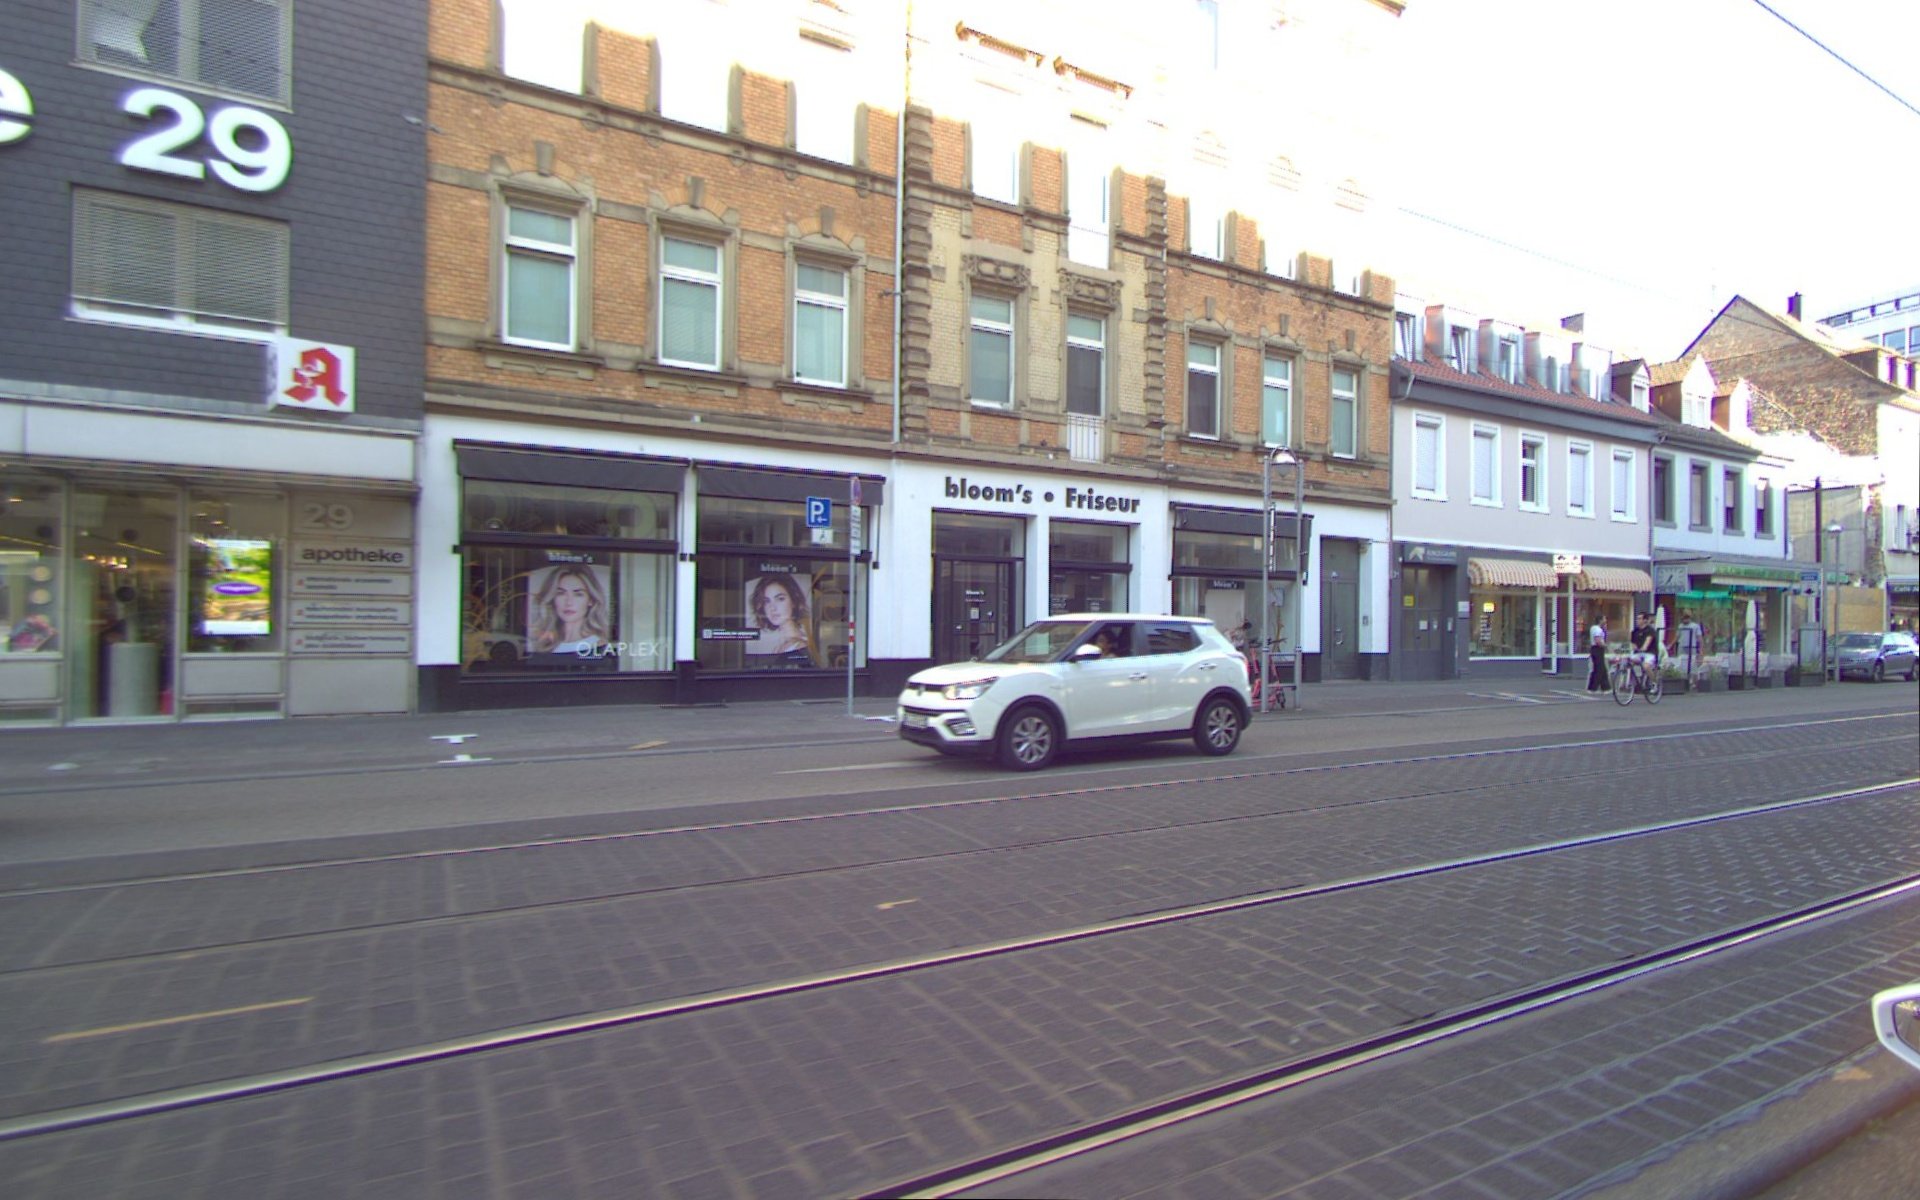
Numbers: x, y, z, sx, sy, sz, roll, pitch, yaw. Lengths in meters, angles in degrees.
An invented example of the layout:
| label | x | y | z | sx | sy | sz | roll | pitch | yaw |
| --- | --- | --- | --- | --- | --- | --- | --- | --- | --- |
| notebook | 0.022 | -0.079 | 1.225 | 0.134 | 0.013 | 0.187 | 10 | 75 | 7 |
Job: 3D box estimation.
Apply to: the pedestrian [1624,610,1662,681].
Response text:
| label | x | y | z | sx | sy | sz | roll | pitch | yaw |
| --- | --- | --- | --- | --- | --- | --- | --- | --- | --- |
| pedestrian | 18.252 | 1.206 | 26.834 | 0.636 | 1.847 | 0.652 | 1 | -1 | -35 |

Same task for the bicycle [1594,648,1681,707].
| label | x | y | z | sx | sy | sz | roll | pitch | yaw |
| --- | --- | --- | --- | --- | --- | --- | --- | --- | --- |
| bicycle | 13.718 | 1.552 | 20.324 | 1.926 | 1.130 | 0.576 | 1 | -1 | -25 |

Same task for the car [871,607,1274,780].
| label | x | y | z | sx | sy | sz | roll | pitch | yaw |
| --- | --- | --- | --- | --- | --- | --- | --- | --- | --- |
| car | 1.303 | 0.952 | 11.287 | 4.211 | 1.615 | 1.882 | 1 | -3 | -29 |

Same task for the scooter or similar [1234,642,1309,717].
| label | x | y | z | sx | sy | sz | roll | pitch | yaw |
| --- | --- | --- | --- | --- | --- | --- | --- | --- | --- |
| scooter or similar | 5.400 | 1.355 | 17.366 | 1.461 | 1.218 | 0.362 | 1 | 1 | -33 |

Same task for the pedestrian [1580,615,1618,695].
| label | x | y | z | sx | sy | sz | roll | pitch | yaw |
| --- | --- | --- | --- | --- | --- | --- | --- | --- | --- |
| pedestrian | 14.695 | 1.242 | 23.116 | 0.603 | 1.799 | 0.718 | 0 | -1 | 22 |

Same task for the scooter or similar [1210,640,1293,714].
| label | x | y | z | sx | sy | sz | roll | pitch | yaw |
| --- | --- | --- | --- | --- | --- | --- | --- | --- | --- |
| scooter or similar | 5.163 | 1.339 | 17.789 | 1.461 | 1.218 | 0.576 | 1 | 1 | -33 |

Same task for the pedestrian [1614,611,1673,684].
| label | x | y | z | sx | sy | sz | roll | pitch | yaw |
| --- | --- | --- | --- | --- | --- | --- | --- | --- | --- |
| pedestrian | 13.888 | 0.960 | 20.411 | 0.862 | 1.463 | 0.622 | 2 | -1 | -25 |

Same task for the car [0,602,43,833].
| label | x | y | z | sx | sy | sz | roll | pitch | yaw |
| --- | --- | --- | --- | --- | --- | --- | --- | --- | --- |
| car | -7.815 | 0.783 | 6.231 | 2.795 | 1.586 | 1.641 | 1 | -1 | -29 |

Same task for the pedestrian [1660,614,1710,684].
| label | x | y | z | sx | sy | sz | roll | pitch | yaw |
| --- | --- | --- | --- | --- | --- | --- | --- | --- | --- |
| pedestrian | 19.223 | 1.282 | 26.642 | 0.680 | 1.799 | 0.881 | 1 | -1 | -31 |

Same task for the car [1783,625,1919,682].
| label | x | y | z | sx | sy | sz | roll | pitch | yaw |
| --- | --- | --- | --- | --- | --- | --- | --- | --- | --- |
| car | 27.415 | 1.635 | 30.708 | 4.702 | 1.552 | 1.984 | 2 | 0 | -31 |
